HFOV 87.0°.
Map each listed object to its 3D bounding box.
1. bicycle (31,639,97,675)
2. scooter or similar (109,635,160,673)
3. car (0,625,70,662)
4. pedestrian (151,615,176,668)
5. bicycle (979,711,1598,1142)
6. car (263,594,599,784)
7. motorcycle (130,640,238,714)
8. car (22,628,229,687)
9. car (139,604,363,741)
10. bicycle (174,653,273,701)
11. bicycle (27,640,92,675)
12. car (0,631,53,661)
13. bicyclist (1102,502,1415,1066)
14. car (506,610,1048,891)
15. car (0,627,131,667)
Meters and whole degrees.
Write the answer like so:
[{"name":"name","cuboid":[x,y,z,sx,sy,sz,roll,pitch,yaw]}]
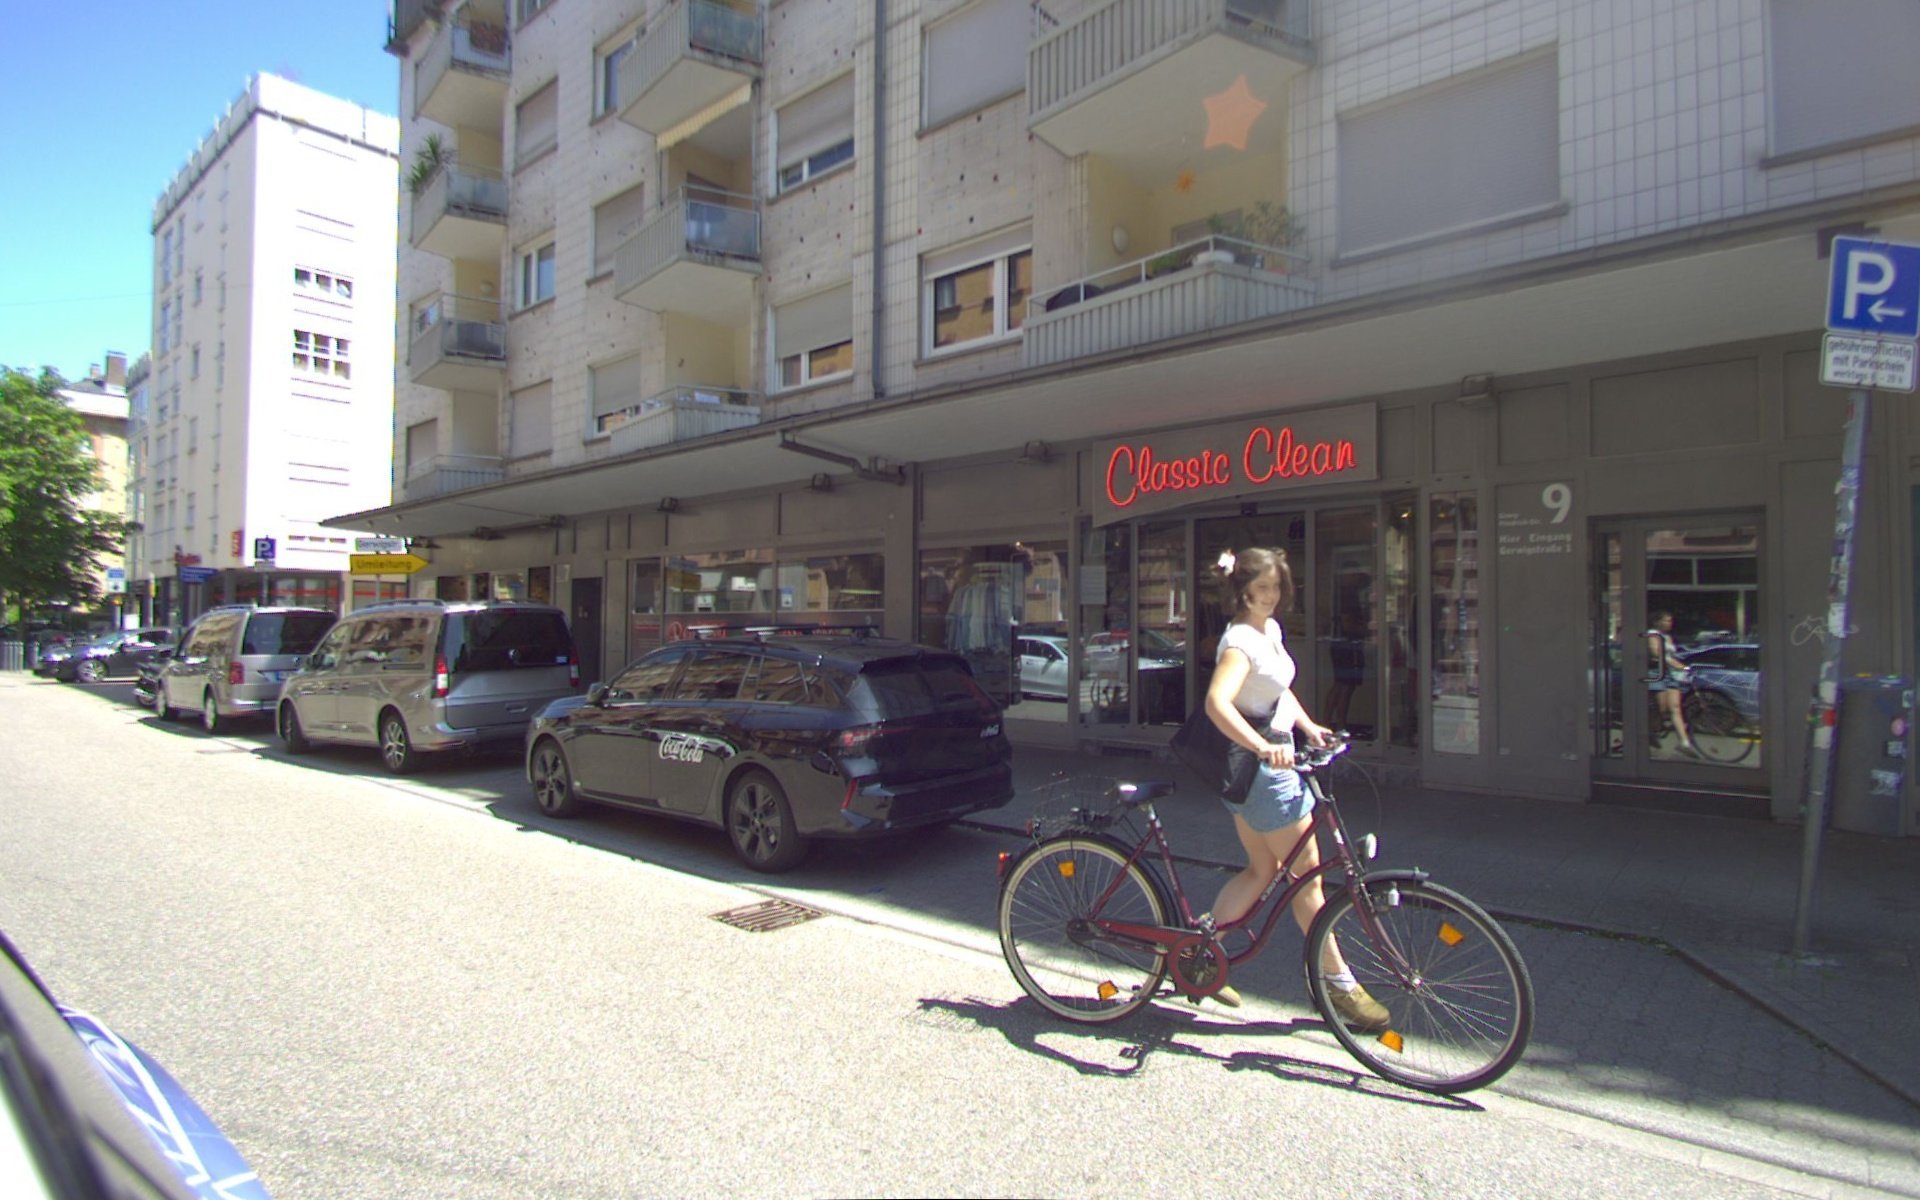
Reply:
[{"name":"bicycle","cuboid":[-28.854,1.825,32.595,1.586,1.099,0.371,0,-2,-44]},{"name":"scooter or similar","cuboid":[-26.233,1.719,32.170,0.289,1.176,1.177,-2,-3,39]},{"name":"car","cuboid":[-45.773,2.103,48.975,1.651,1.760,3.835,-2,-3,40]},{"name":"pedestrian","cuboid":[-32.595,1.694,41.417,0.599,2.141,0.496,1,-2,-13]},{"name":"bicycle","cuboid":[1.064,0.996,3.571,1.930,1.100,0.599,-1,-3,27]},{"name":"car","cuboid":[-6.335,0.914,11.885,4.693,1.825,1.771,-2,-2,39]},{"name":"motorcycle","cuboid":[-14.193,1.392,18.539,1.530,1.293,0.394,0,0,-17]},{"name":"car","cuboid":[-21.903,1.472,26.709,1.810,1.436,3.848,-1,-3,33]},{"name":"car","cuboid":[-11.284,1.044,15.960,4.898,1.843,1.770,-2,-2,41]},{"name":"bicycle","cuboid":[-15.309,1.596,21.059,1.684,0.964,0.411,0,-1,-6]},{"name":"bicycle","cuboid":[-29.898,1.891,33.615,1.586,1.099,0.371,0,-2,-44]},{"name":"car","cuboid":[-49.723,2.383,52.468,1.651,1.507,3.835,-2,-3,40]},{"name":"bicyclist","cuboid":[1.067,0.574,3.604,0.973,1.719,0.619,-1,-3,26]},{"name":"car","cuboid":[-1.618,0.883,7.653,4.462,1.537,1.652,-2,-2,42]},{"name":"car","cuboid":[-36.202,1.889,40.952,1.651,1.541,3.835,-2,-3,40]}]
